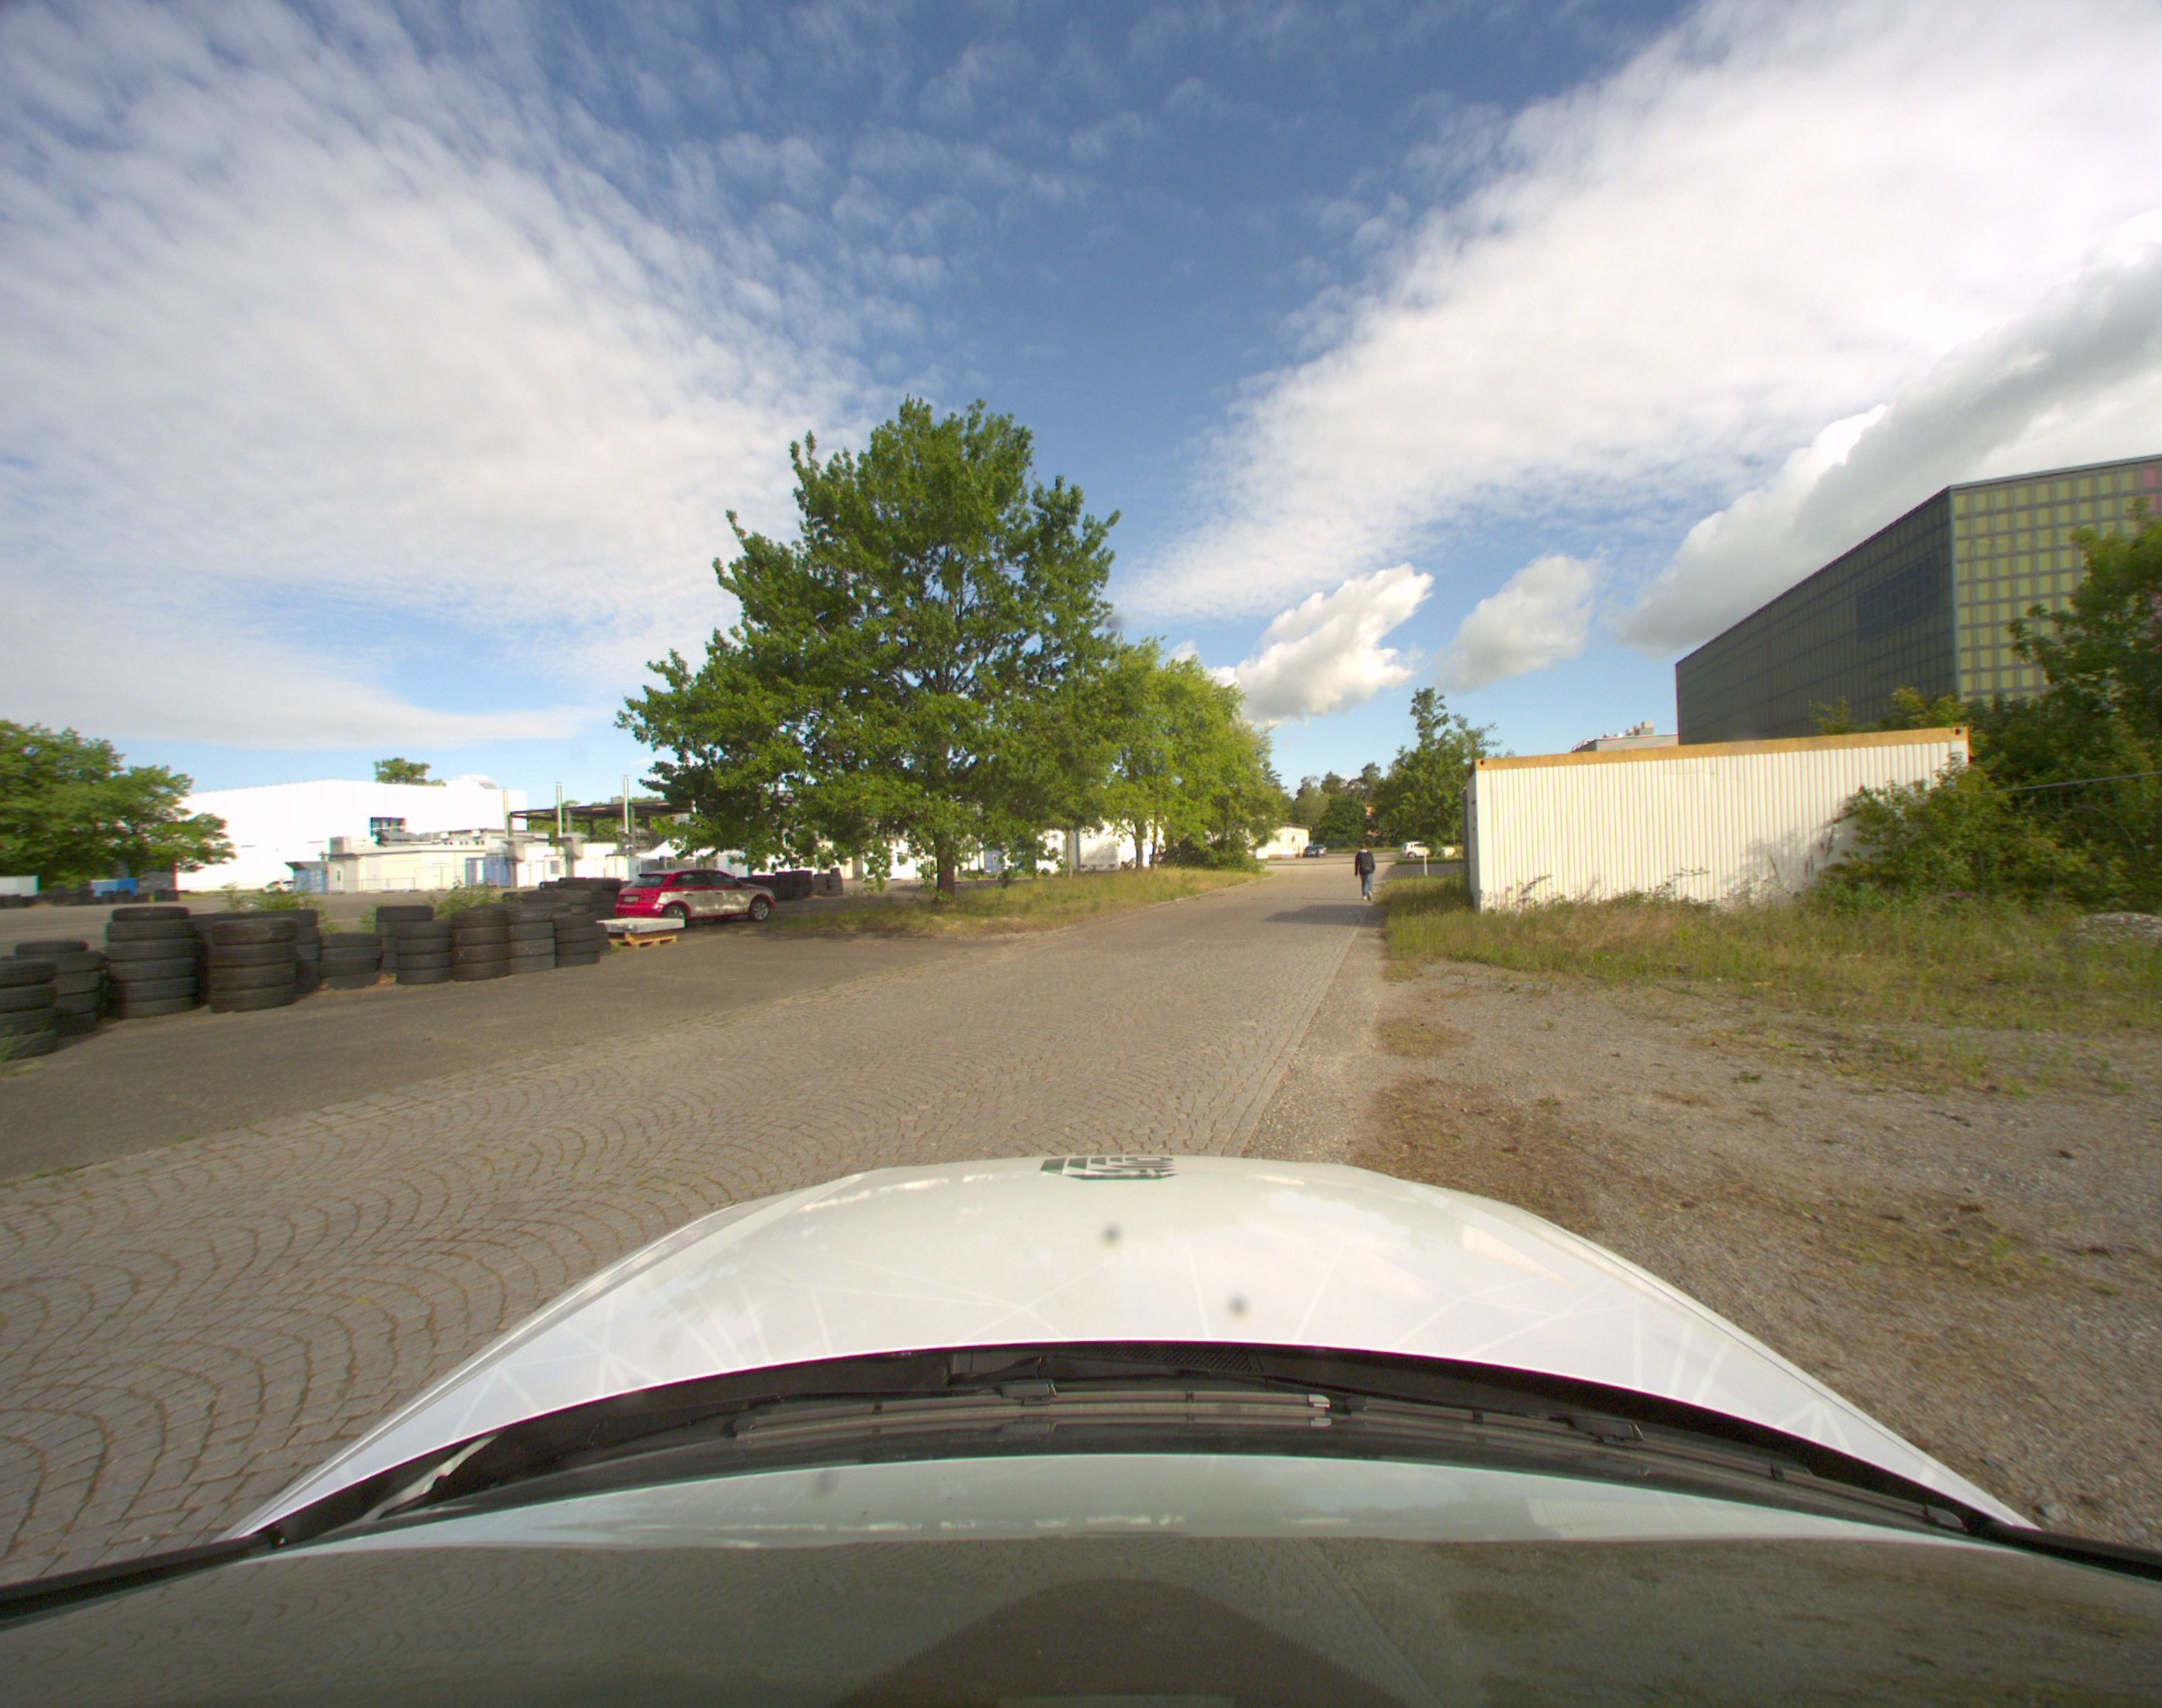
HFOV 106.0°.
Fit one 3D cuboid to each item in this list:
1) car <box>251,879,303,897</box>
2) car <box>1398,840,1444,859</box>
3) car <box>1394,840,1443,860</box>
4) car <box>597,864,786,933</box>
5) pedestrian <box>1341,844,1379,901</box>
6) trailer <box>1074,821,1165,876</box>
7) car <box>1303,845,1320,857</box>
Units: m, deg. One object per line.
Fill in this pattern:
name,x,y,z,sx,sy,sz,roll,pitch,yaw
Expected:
car,-81.116,3.424,82.210,4.495,1.564,1.884,-2,0,19
car,32.584,-0.442,78.036,3.950,1.643,2.012,-2,0,27
car,31.367,-0.372,75.683,3.950,1.643,2.012,-2,0,27
car,-9.648,1.049,20.507,1.706,1.464,4.025,-2,0,28
pedestrian,7.877,0.507,22.992,0.857,1.559,1.034,-2,0,25
trailer,2.907,-0.402,56.720,2.891,3.471,9.956,-2,0,23
car,28.992,-0.349,102.487,1.979,1.371,4.016,-2,0,15
